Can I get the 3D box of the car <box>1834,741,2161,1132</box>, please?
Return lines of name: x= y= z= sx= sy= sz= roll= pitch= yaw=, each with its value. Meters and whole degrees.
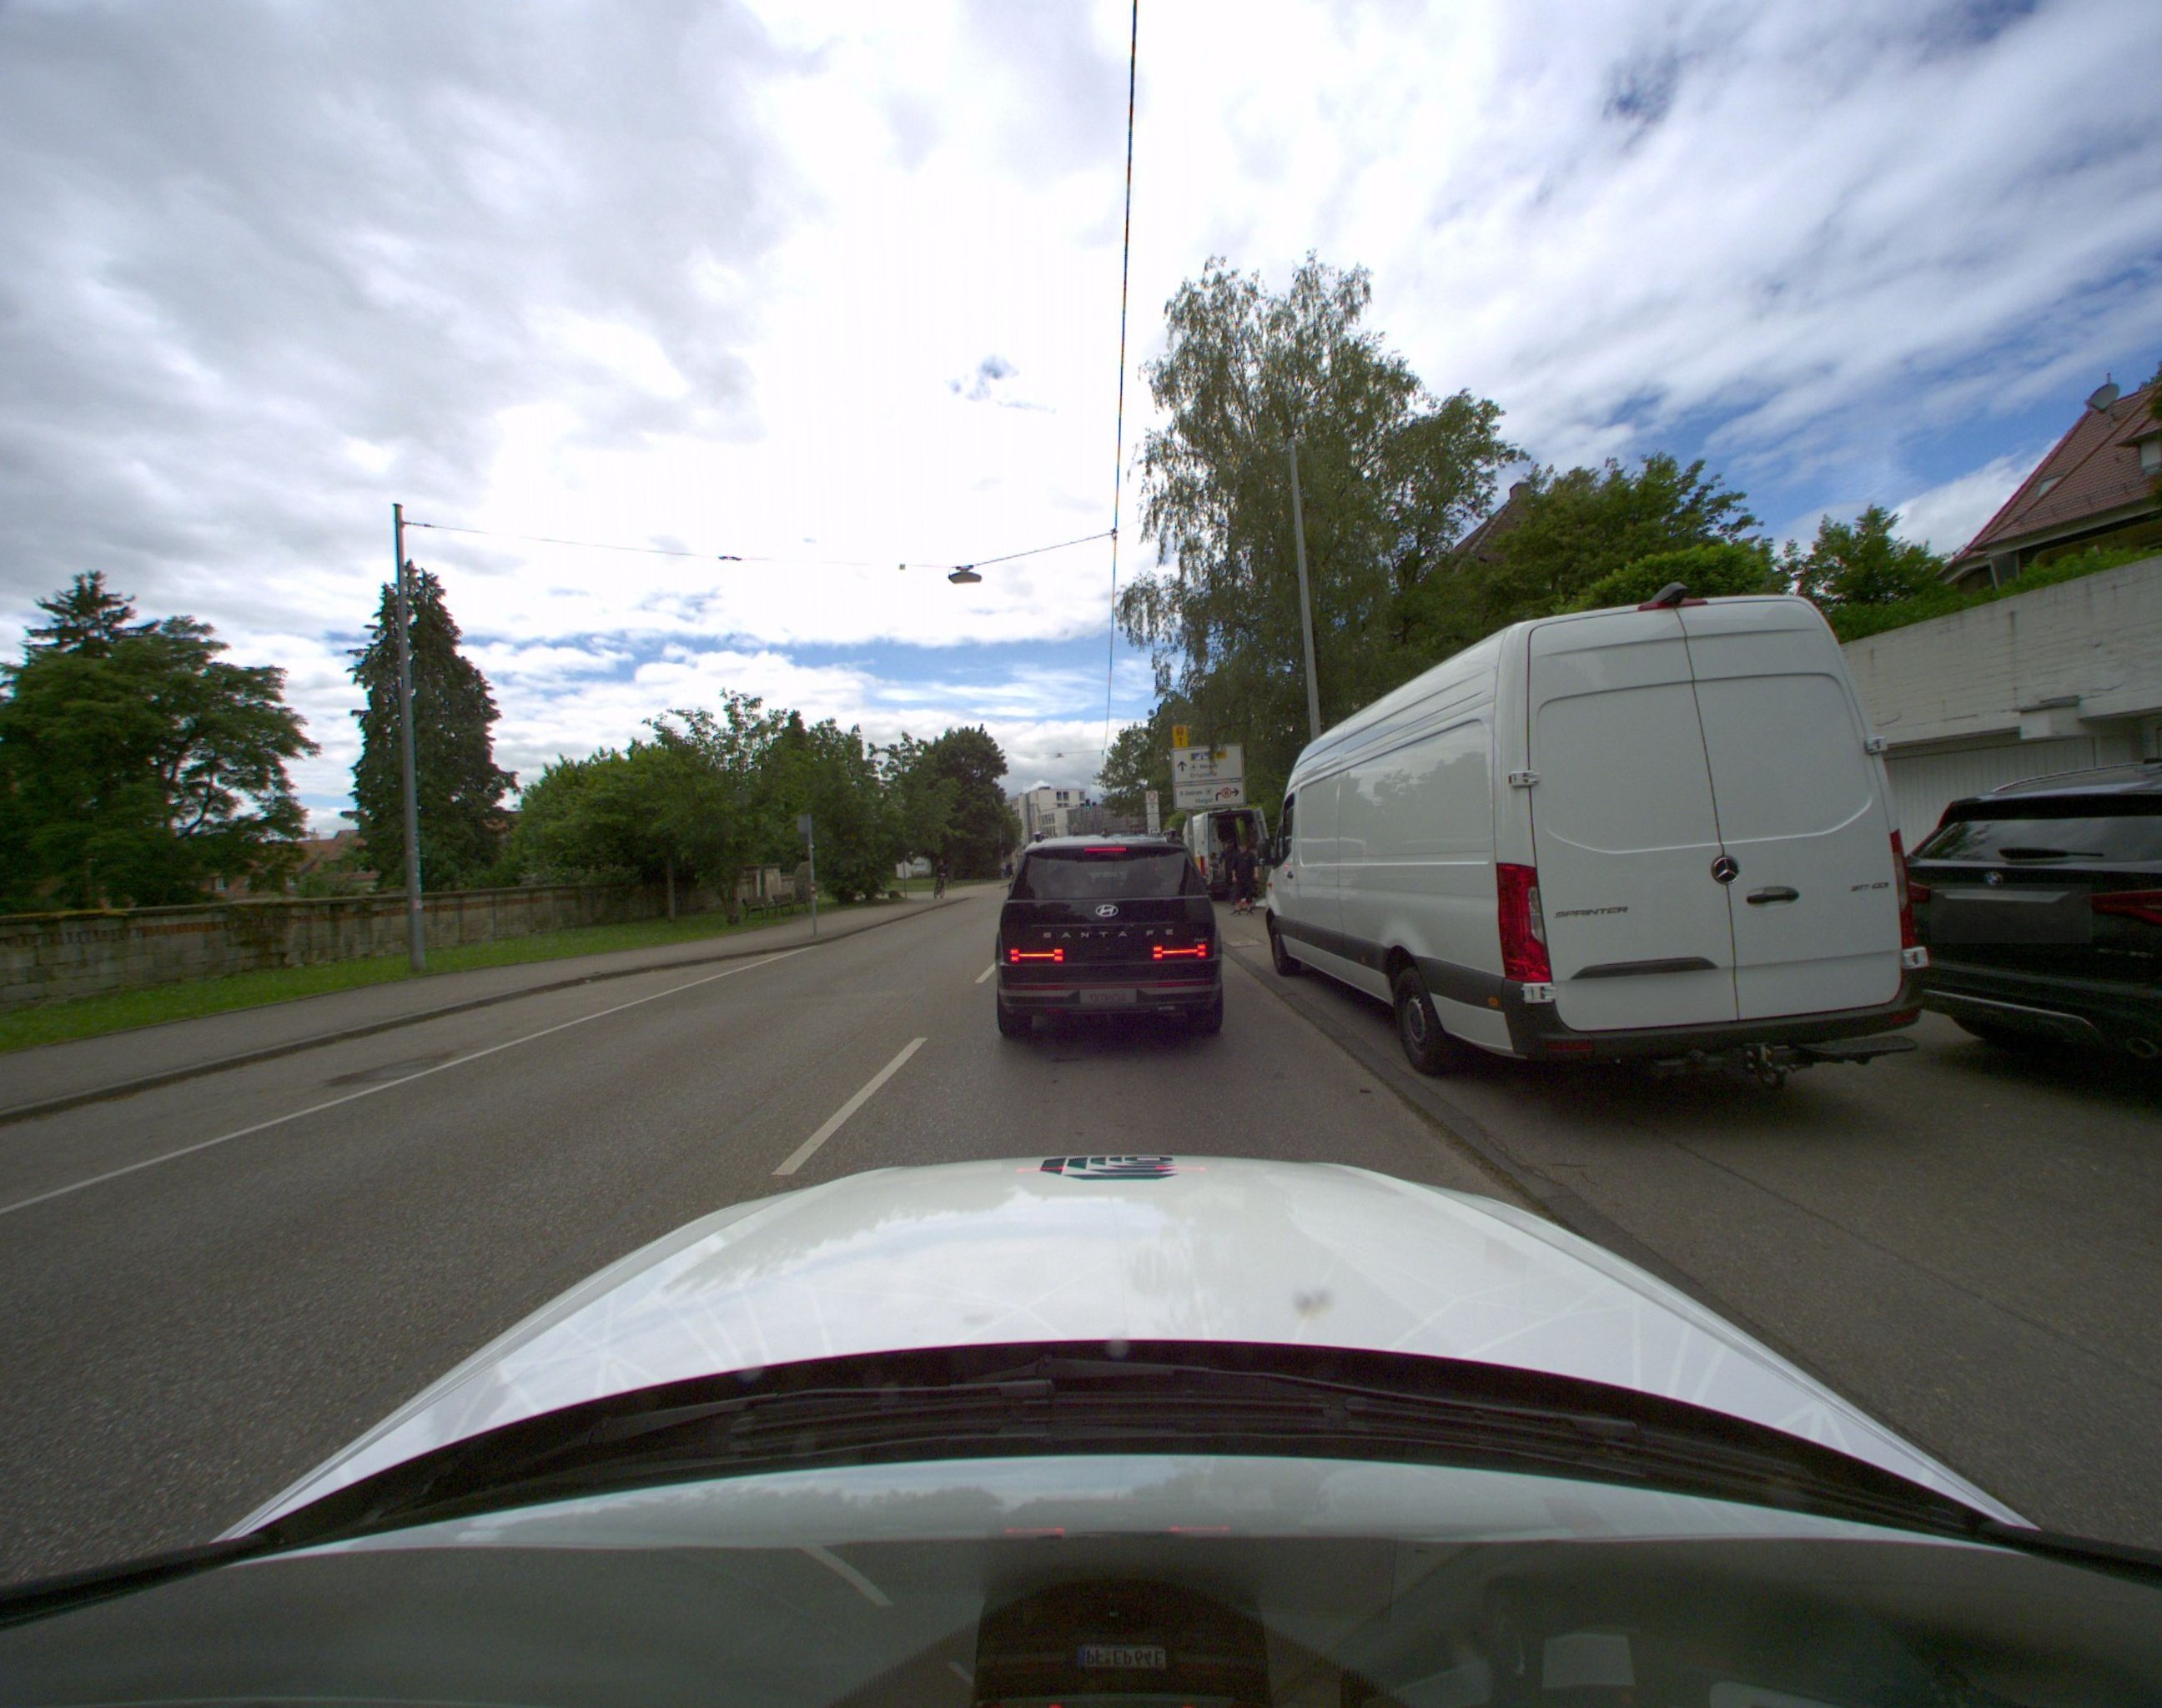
car: x=6.801 y=0.218 z=4.064 sx=4.365 sy=1.675 sz=1.696 roll=-4 pitch=-1 yaw=2

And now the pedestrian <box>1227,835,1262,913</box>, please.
pedestrian: x=3.685 y=0.438 z=18.331 sx=0.745 sy=1.721 sz=0.794 roll=-1 pitch=-1 yaw=12

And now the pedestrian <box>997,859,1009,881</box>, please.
pedestrian: x=-6.195 y=1.266 z=64.658 sx=0.764 sy=1.748 sz=0.905 roll=-2 pitch=-1 yaw=2

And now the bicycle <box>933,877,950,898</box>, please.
bicycle: x=-6.814 y=1.629 z=39.855 sx=0.493 sy=0.964 sz=1.749 roll=0 pitch=-1 yaw=2

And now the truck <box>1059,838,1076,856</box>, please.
truck: x=-3.221 y=-1.465 z=189.197 sx=3.102 sy=3.859 sz=9.606 roll=-3 pitch=0 yaw=-4

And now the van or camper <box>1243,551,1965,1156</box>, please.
van or camper: x=3.074 y=0.020 z=7.068 sx=1.984 sy=2.625 sz=6.546 roll=-6 pitch=-1 yaw=2

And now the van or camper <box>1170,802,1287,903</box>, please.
van or camper: x=4.356 y=0.019 z=25.326 sx=2.332 sy=2.494 sz=6.603 roll=-6 pitch=-1 yaw=1

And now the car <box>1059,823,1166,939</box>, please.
car: x=0.628 y=0.497 z=16.469 sx=1.890 sy=2.042 sz=3.995 roll=0 pitch=-1 yaw=2

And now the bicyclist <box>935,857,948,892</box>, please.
bicyclist: x=-6.816 y=1.012 z=39.835 sx=0.486 sy=1.684 sz=0.588 roll=0 pitch=-1 yaw=1

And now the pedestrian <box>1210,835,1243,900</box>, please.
pedestrian: x=3.852 y=0.351 z=21.601 sx=0.732 sy=1.643 sz=0.803 roll=-4 pitch=-1 yaw=8

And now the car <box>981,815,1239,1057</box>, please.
car: x=0.275 y=0.620 z=8.006 sx=1.890 sy=1.776 sz=3.995 roll=0 pitch=-1 yaw=2

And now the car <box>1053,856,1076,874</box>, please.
car: x=-1.483 y=0.997 z=75.200 sx=1.750 sy=1.403 sz=4.416 roll=-5 pitch=-1 yaw=2

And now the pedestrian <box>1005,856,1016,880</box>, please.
pedestrian: x=-5.924 y=1.164 z=68.462 sx=0.826 sy=2.014 sz=1.048 roll=0 pitch=-1 yaw=4

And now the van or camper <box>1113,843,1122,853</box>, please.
van or camper: x=7.747 y=-1.207 z=172.598 sx=1.791 sy=1.999 sz=3.821 roll=0 pitch=-1 yaw=-2

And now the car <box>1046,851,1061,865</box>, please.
car: x=-4.844 y=0.743 z=144.527 sx=2.328 sy=2.315 sz=4.950 roll=-3 pitch=0 yaw=-4
